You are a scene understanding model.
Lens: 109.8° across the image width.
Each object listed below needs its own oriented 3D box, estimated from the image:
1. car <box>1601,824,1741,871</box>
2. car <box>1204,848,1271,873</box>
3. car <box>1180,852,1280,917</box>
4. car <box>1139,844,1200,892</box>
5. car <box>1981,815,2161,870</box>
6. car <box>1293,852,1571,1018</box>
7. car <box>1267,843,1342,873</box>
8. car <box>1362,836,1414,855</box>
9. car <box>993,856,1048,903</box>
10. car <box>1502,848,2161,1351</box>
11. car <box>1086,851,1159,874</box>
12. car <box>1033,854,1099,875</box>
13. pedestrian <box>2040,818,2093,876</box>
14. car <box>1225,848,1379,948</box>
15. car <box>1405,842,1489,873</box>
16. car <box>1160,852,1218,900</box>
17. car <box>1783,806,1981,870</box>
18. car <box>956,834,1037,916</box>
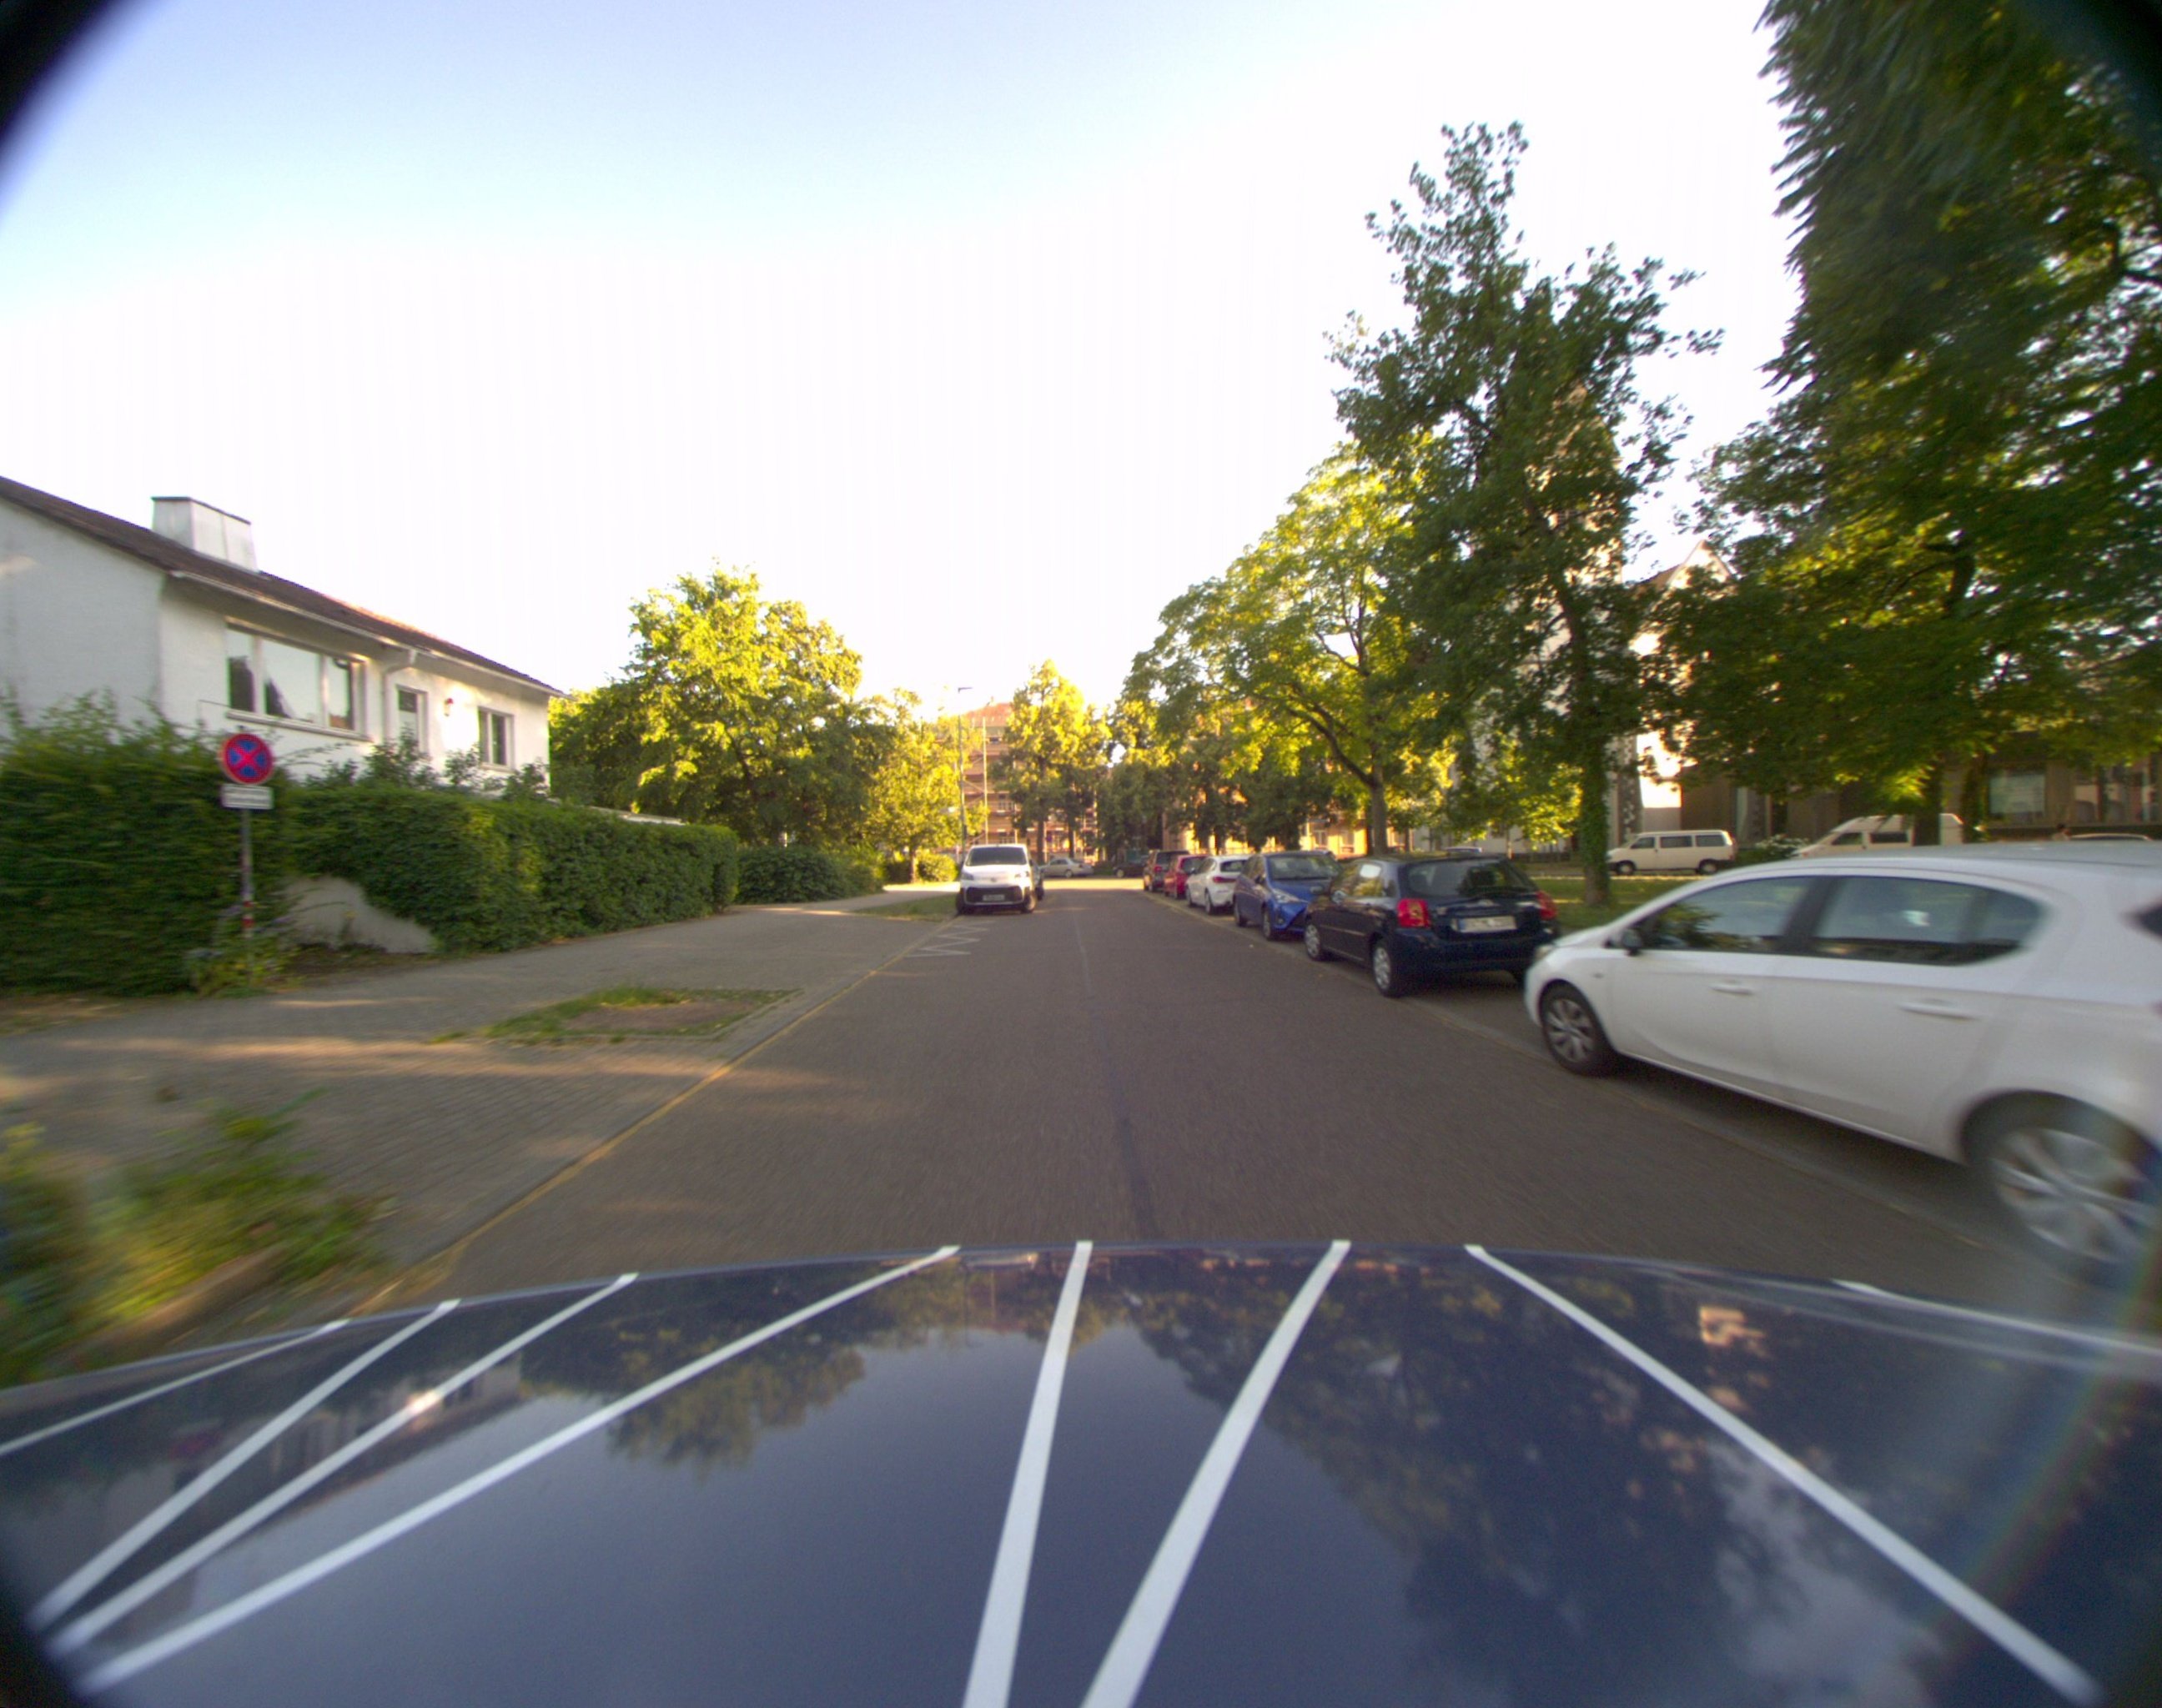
[{"bbox_3d":[26.394,-0.249,34.234,4.827,1.935,1.861,-2,1,34],"label":"car"},{"bbox_3d":[9.421,0.395,45.742,3.596,1.431,1.621,-2,-1,35],"label":"car"},{"bbox_3d":[3.699,0.694,19.537,1.694,1.398,3.974,-4,0,-1],"label":"car"},{"bbox_3d":[3.477,0.498,30.468,1.806,1.666,4.320,-4,0,-1],"label":"car"},{"bbox_3d":[36.791,-0.402,28.075,4.133,1.875,1.860,-2,1,28],"label":"car"},{"bbox_3d":[3.821,0.754,9.056,1.555,1.486,3.943,-2,0,2],"label":"car"},{"bbox_3d":[12.699,0.236,43.215,3.687,1.570,1.713,-2,1,34],"label":"car"},{"bbox_3d":[29.298,-0.820,72.539,4.218,1.646,1.891,-2,0,-3],"label":"car"},{"bbox_3d":[-2.124,0.844,27.646,1.770,1.459,4.863,-2,0,-3],"label":"car"},{"bbox_3d":[4.072,0.756,3.835,1.596,1.517,3.864,-2,0,-3],"label":"car"},{"bbox_3d":[2.734,0.573,50.370,4.482,1.407,1.834,-2,-2,35],"label":"car"},{"bbox_3d":[-1.076,0.746,53.512,4.485,1.407,1.789,-2,-2,38],"label":"car"},{"bbox_3d":[27.011,-0.185,20.847,0.765,1.565,0.777,-1,1,44],"label":"pedestrian"},{"bbox_3d":[3.869,0.693,13.936,1.642,1.487,3.704,-4,0,-1],"label":"car"},{"bbox_3d":[18.886,0.198,39.199,3.687,1.493,1.624,-2,1,34],"label":"car"},{"bbox_3d":[3.602,0.696,25.803,1.391,1.415,3.426,-4,0,-1],"label":"car"},{"bbox_3d":[32.169,-0.589,30.767,5.173,2.342,1.860,-2,1,28],"label":"car"},{"bbox_3d":[-2.276,0.518,21.778,1.958,2.002,5.151,-2,0,-3],"label":"car"}]
